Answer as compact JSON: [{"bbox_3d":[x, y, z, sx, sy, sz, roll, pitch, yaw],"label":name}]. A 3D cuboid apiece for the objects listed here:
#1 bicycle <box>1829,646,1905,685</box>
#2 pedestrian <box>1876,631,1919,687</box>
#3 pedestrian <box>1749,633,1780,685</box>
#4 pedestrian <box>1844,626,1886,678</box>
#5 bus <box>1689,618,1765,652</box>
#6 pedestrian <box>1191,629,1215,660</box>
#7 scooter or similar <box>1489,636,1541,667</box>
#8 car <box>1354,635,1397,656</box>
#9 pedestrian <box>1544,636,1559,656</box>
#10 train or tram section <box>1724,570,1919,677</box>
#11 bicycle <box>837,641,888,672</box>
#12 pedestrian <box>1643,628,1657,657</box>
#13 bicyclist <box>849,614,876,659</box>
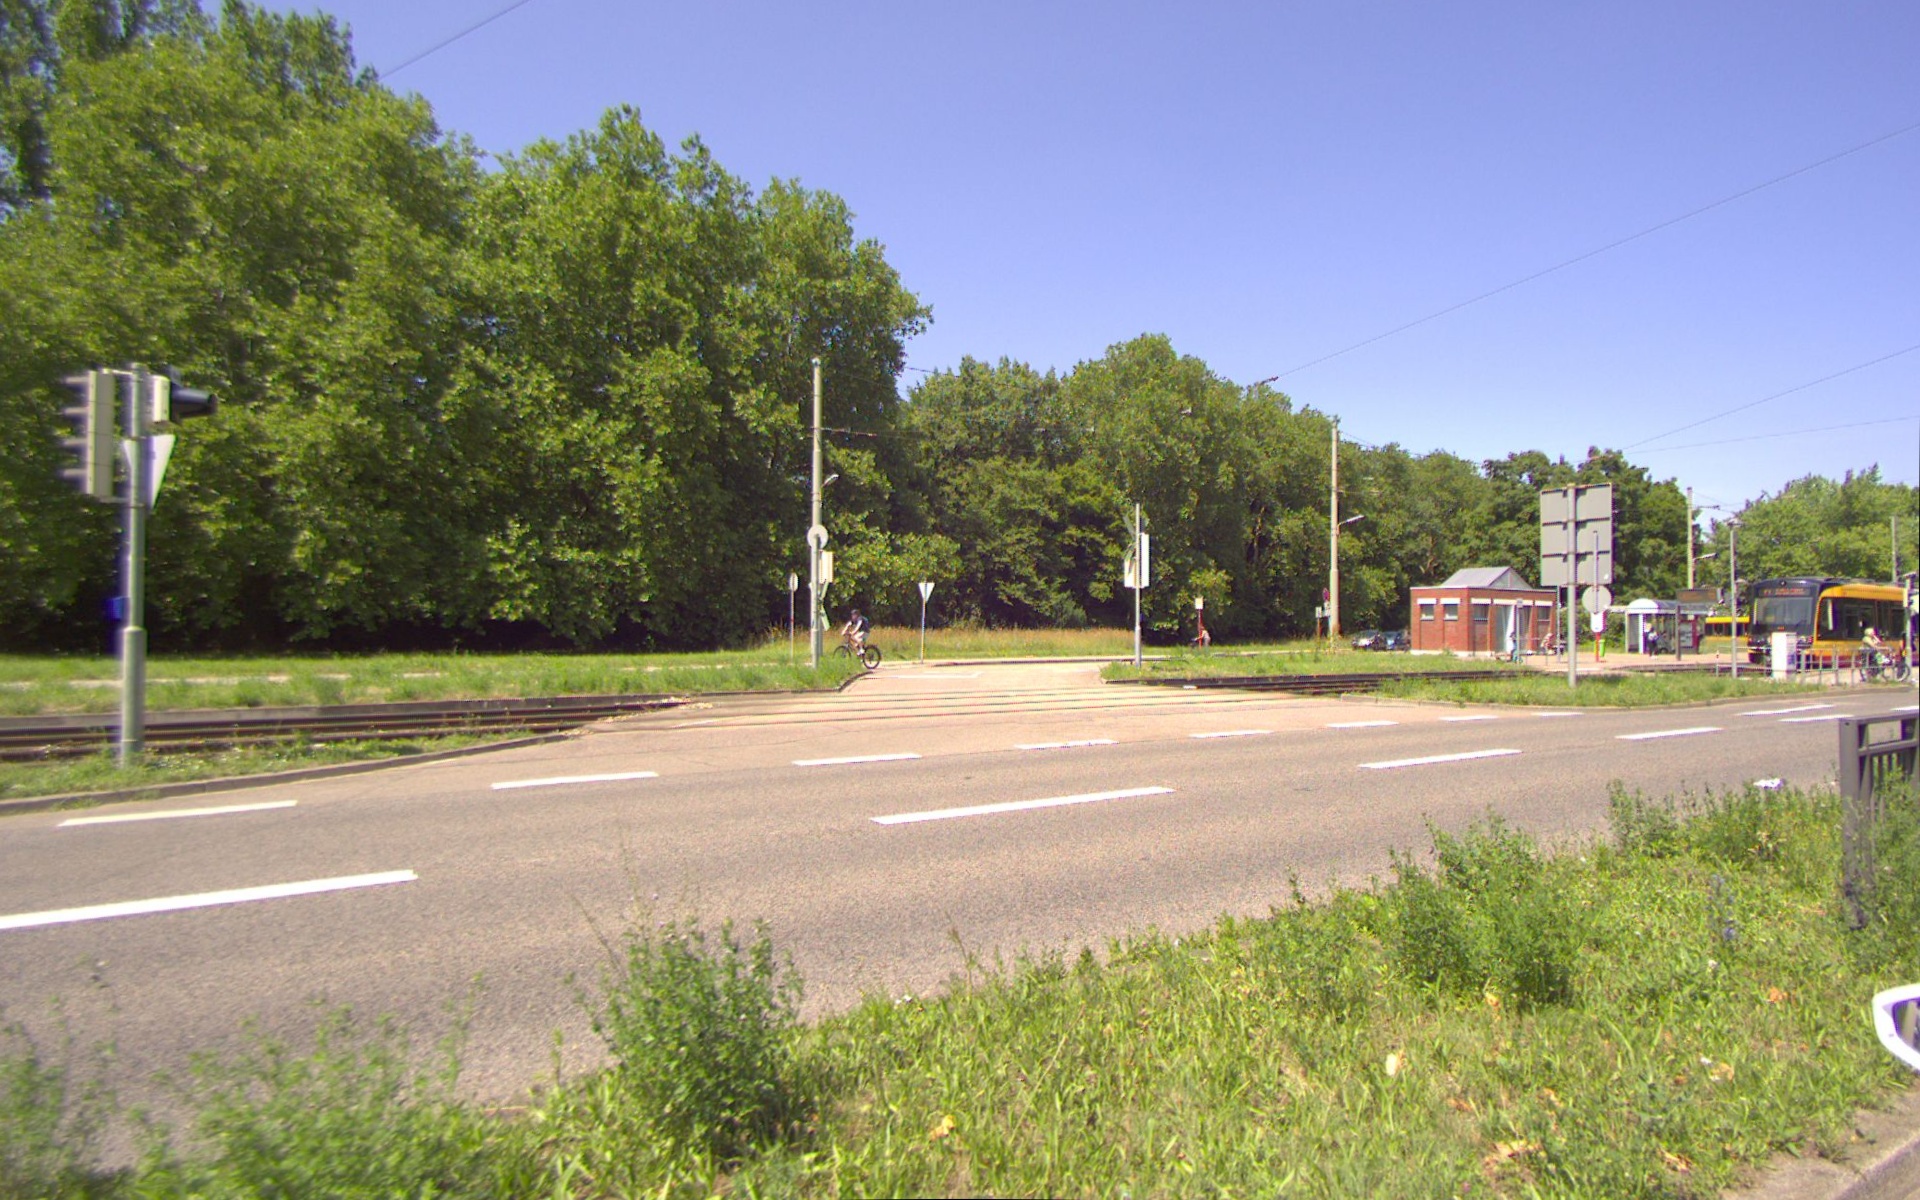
[{"bbox_3d":[29.043,2.073,32.206,0.239,1.172,1.856,1,-1,-27],"label":"bicycle"},{"bbox_3d":[30.955,1.925,33.090,0.692,1.820,0.961,1,-1,-3],"label":"pedestrian"},{"bbox_3d":[24.578,1.799,30.693,0.527,1.561,0.869,0,-1,23],"label":"pedestrian"},{"bbox_3d":[29.125,1.654,32.330,0.696,1.650,0.816,1,-1,-27],"label":"pedestrian"},{"bbox_3d":[84.810,3.848,111.241,1.963,3.613,7.549,1,-1,-7],"label":"bus"},{"bbox_3d":[13.515,2.479,55.901,1.245,1.724,0.518,1,-1,13],"label":"pedestrian"},{"bbox_3d":[21.464,1.990,38.880,1.639,1.142,0.613,1,-1,12],"label":"scooter or similar"},{"bbox_3d":[30.177,3.277,72.879,1.968,1.486,3.985,0,-1,37],"label":"car"},{"bbox_3d":[30.043,2.325,51.038,0.516,1.032,0.479,1,-1,-31],"label":"pedestrian"},{"bbox_3d":[44.723,1.271,46.464,37.116,3.716,2.772,2,-1,-33],"label":"train or tram section"},{"bbox_3d":[-3.009,1.733,31.147,1.552,0.913,0.504,2,-1,-39],"label":"bicycle"},{"bbox_3d":[34.554,2.134,50.305,0.520,1.455,0.458,1,-1,-35],"label":"pedestrian"},{"bbox_3d":[-3.030,1.128,31.155,0.674,1.353,0.504,1,-1,-38],"label":"bicyclist"}]
